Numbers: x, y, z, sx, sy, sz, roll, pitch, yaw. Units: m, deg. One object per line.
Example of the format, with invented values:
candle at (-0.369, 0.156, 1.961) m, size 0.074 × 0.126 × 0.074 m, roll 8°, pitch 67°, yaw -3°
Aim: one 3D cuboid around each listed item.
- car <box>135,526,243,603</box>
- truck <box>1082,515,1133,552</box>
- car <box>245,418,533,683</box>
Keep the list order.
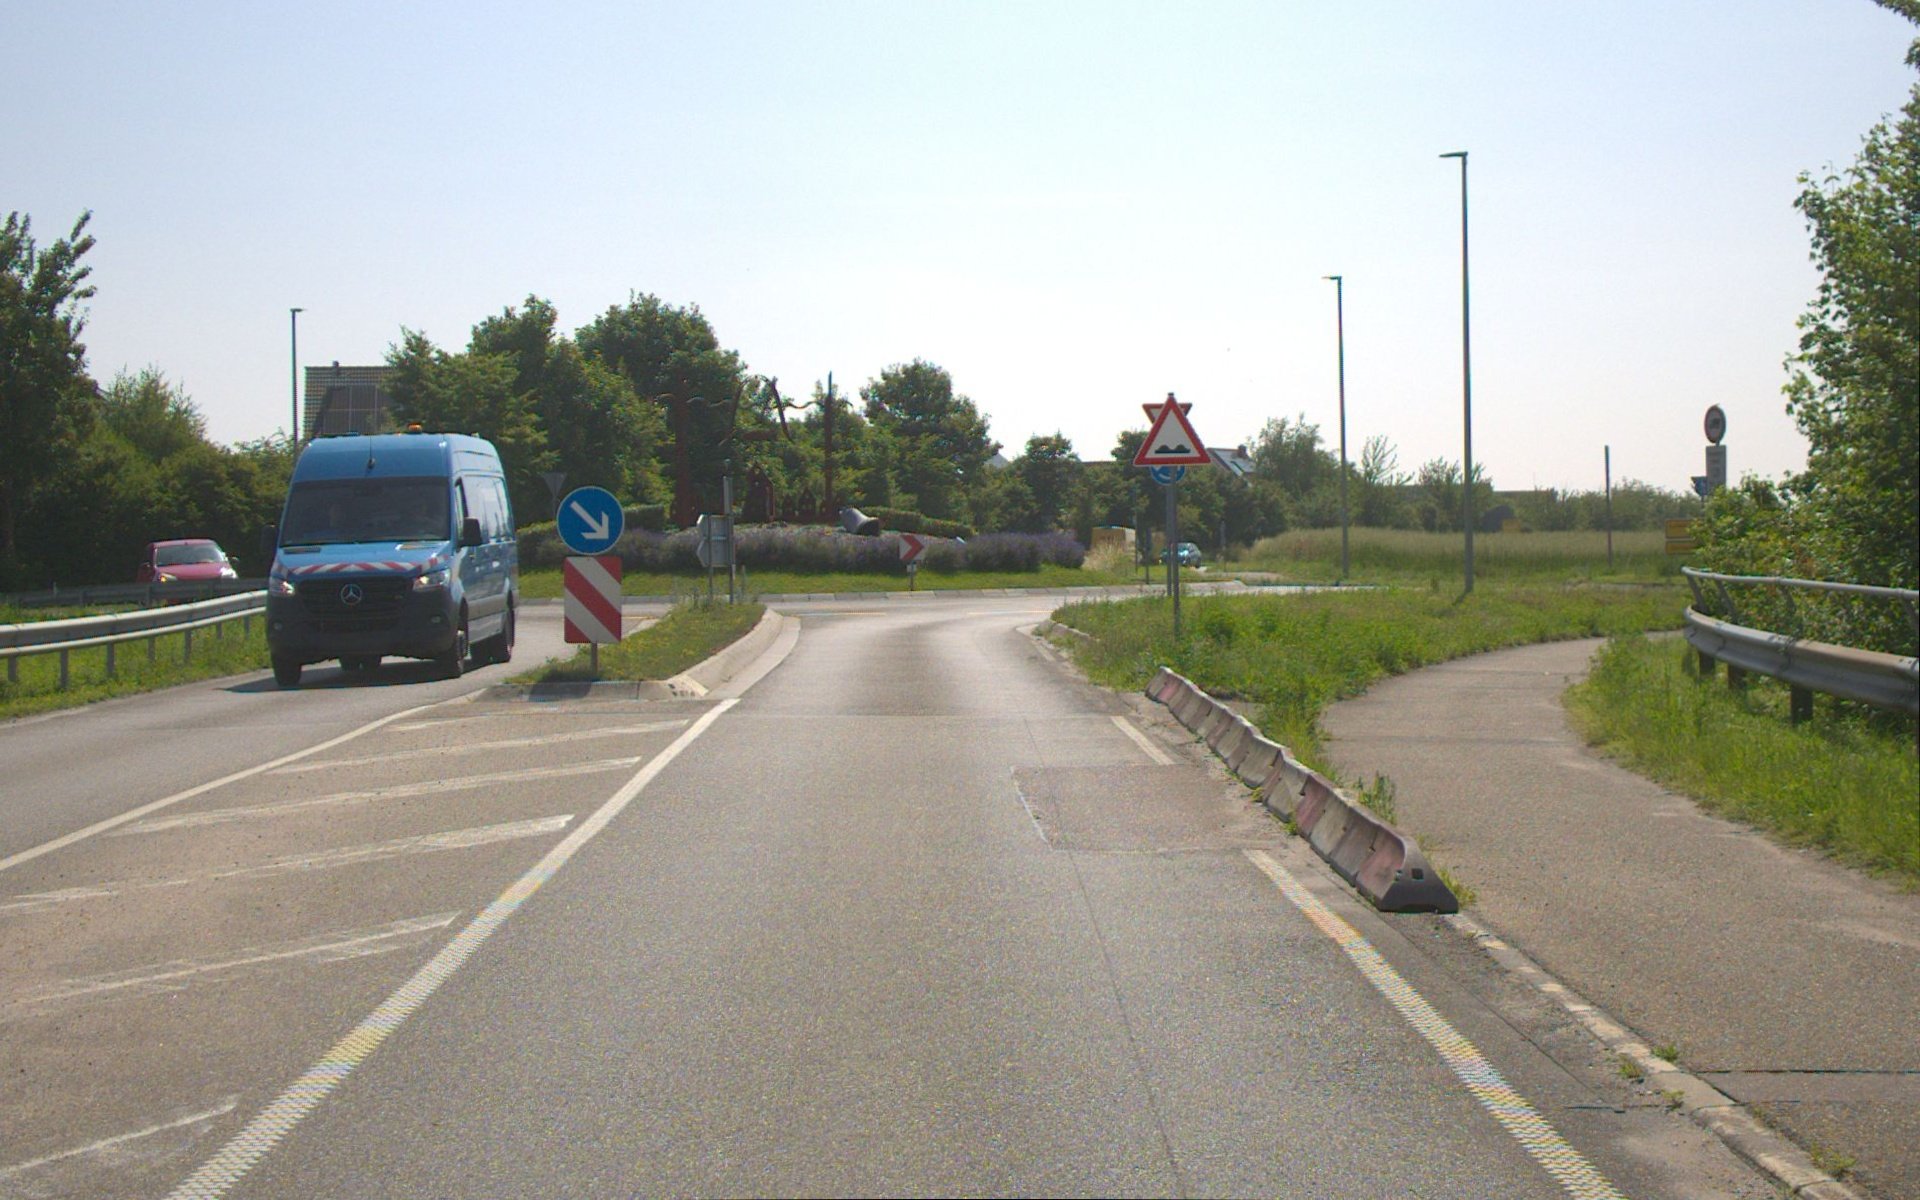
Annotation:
car at (-15.748, -0.716, 70.114) m, size 1.627 × 1.486 × 3.804 m, roll -2°, pitch 1°, yaw -20°
truck at (8.063, -3.645, 187.878) m, size 1.995 × 2.007 × 3.998 m, roll 0°, pitch 1°, yaw 14°
car at (-6.210, -0.573, 38.341) m, size 1.993 × 2.602 × 7.291 m, roll -2°, pitch 1°, yaw -1°
